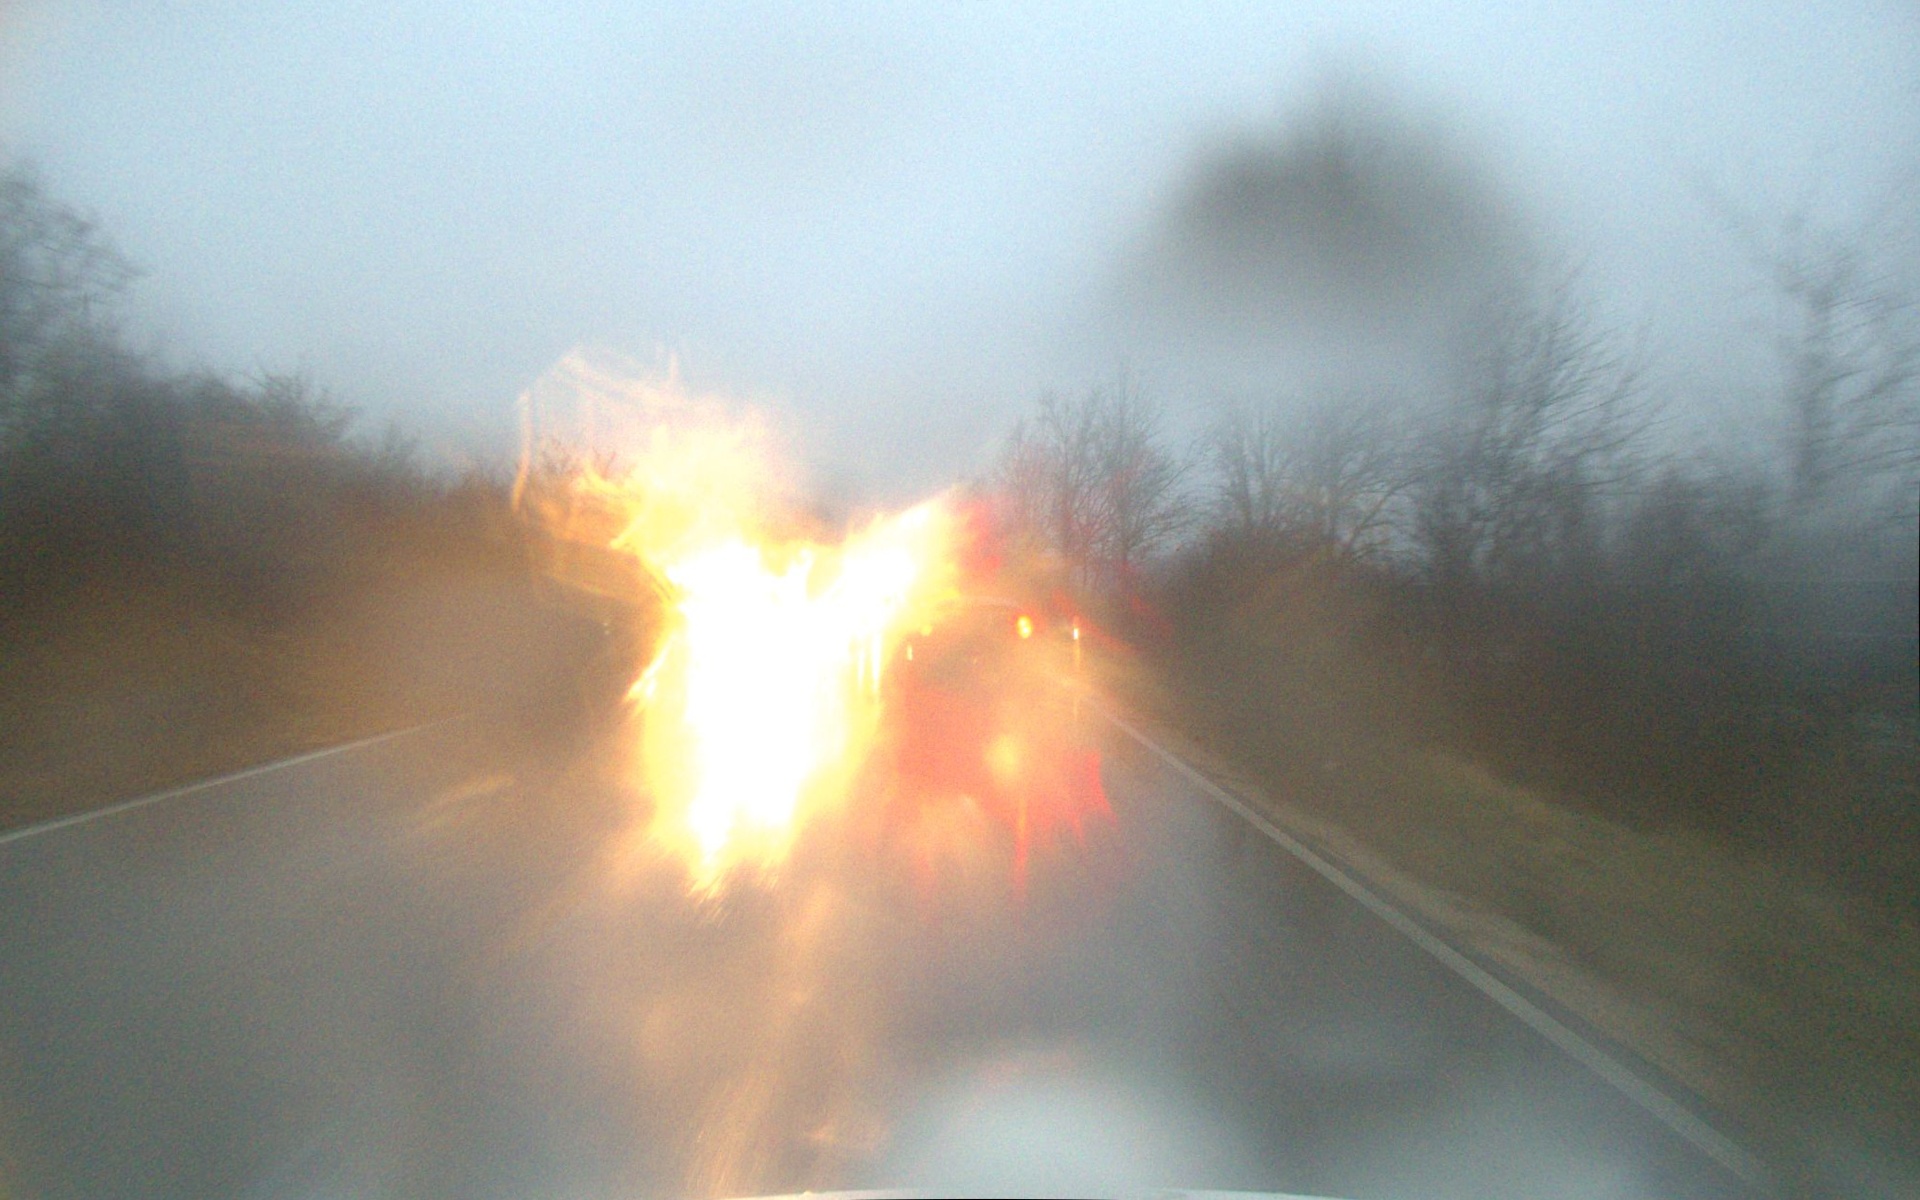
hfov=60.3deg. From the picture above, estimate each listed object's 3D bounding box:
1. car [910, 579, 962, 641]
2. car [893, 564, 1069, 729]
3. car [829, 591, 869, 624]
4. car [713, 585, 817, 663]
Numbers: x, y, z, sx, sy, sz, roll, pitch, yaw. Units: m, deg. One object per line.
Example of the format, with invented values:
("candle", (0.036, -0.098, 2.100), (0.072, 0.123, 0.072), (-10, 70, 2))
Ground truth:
("car", (-0.747, 0.309, 53.223), (1.542, 1.907, 3.709), (1, 0, 0))
("car", (0.250, 0.512, 20.658), (1.953, 1.816, 4.000), (1, 0, 0))
("car", (-5.237, 0.334, 78.475), (1.788, 1.525, 4.093), (1, 0, -2))
("car", (-3.930, 0.460, 33.926), (1.715, 1.500, 3.890), (1, 0, -1))
